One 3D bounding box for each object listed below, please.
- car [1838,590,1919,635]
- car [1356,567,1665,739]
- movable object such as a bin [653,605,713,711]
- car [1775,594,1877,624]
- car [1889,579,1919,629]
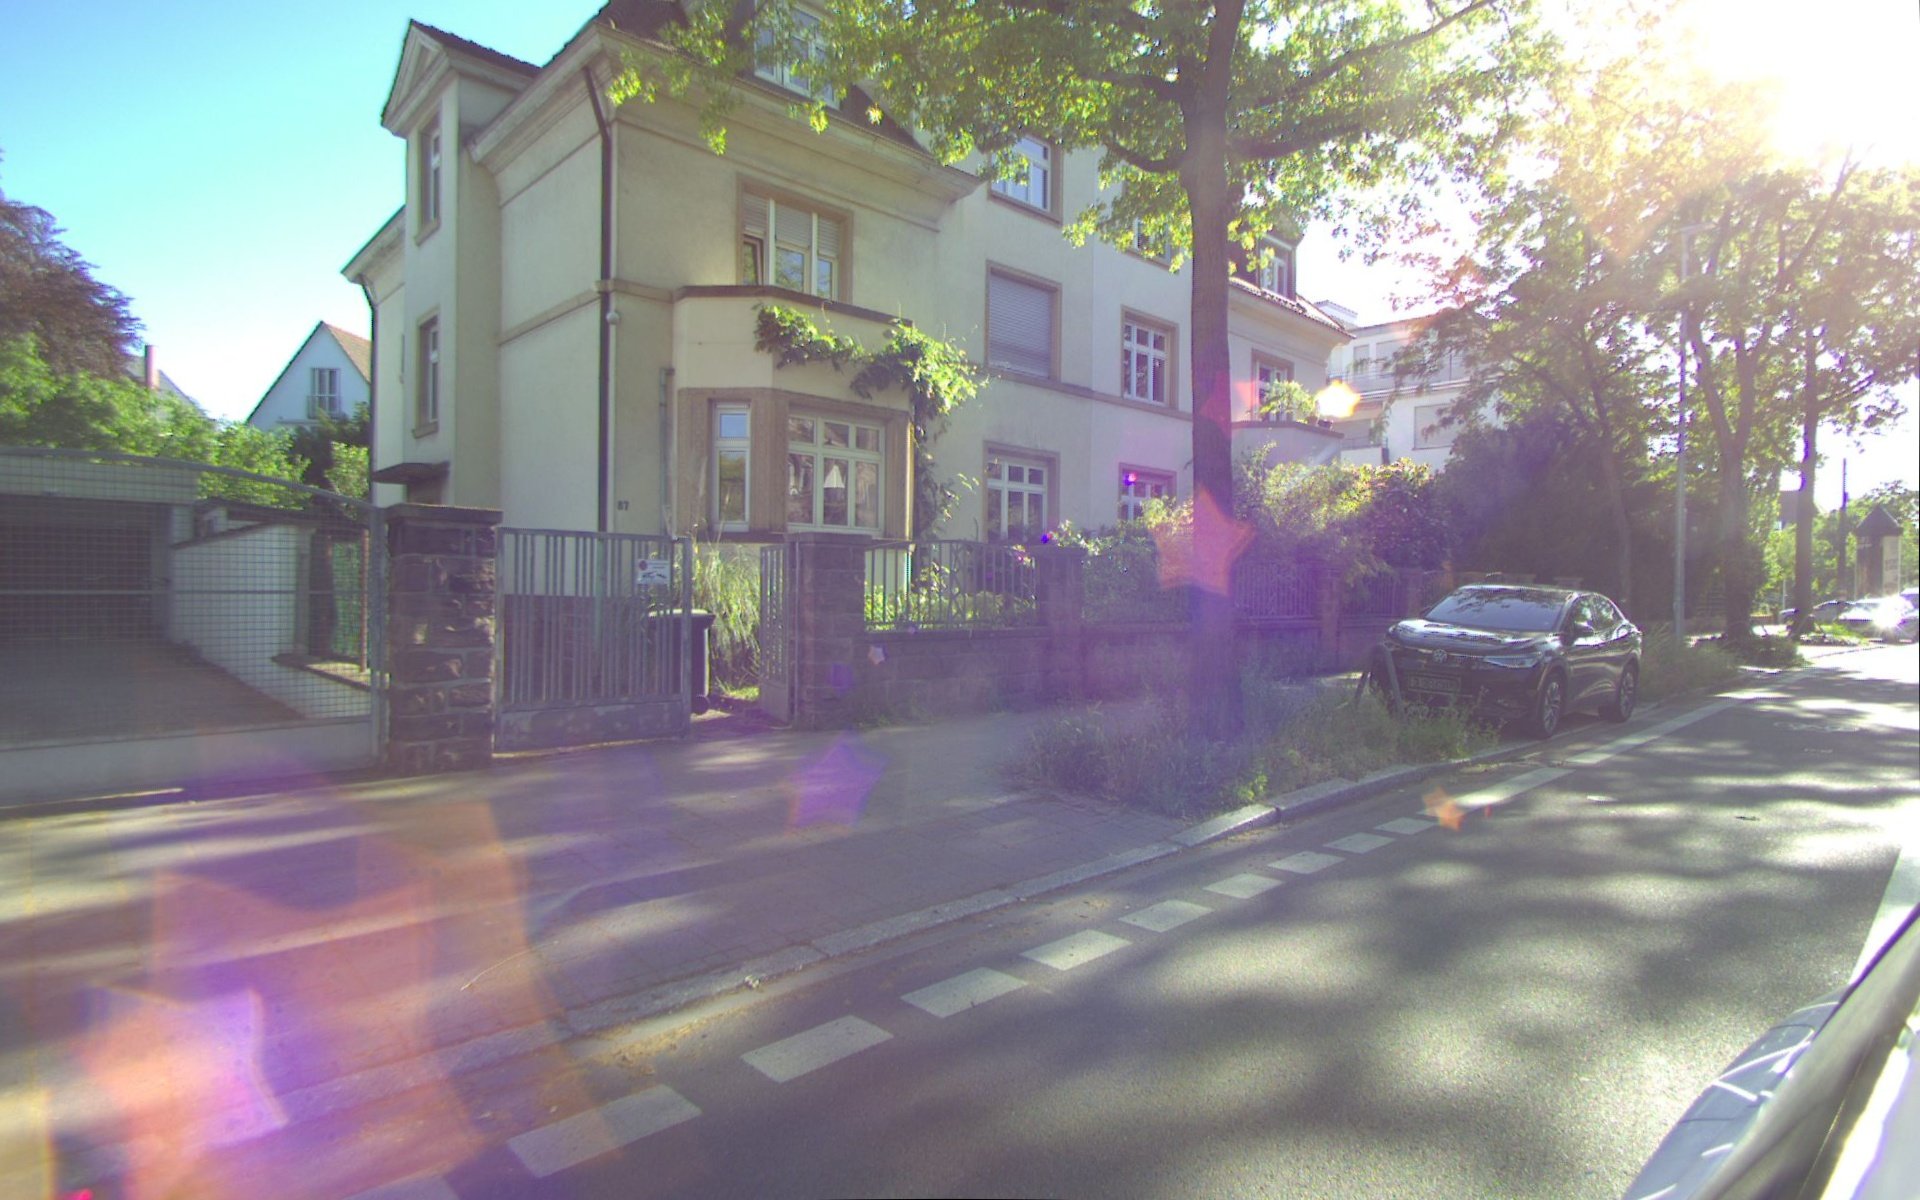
[{"bbox_3d":[31.504,0.384,34.275,4.181,1.427,1.901,0,1,-38],"label":"car"},{"bbox_3d":[6.703,0.499,12.137,4.186,1.619,1.917,0,4,-42],"label":"car"},{"bbox_3d":[-2.929,0.588,10.671,0.551,1.062,0.676,0,0,-20],"label":"movable object such as a bin"},{"bbox_3d":[46.058,0.460,53.842,1.784,1.459,3.990,0,1,-44],"label":"car"},{"bbox_3d":[36.664,0.131,37.858,4.580,1.808,1.903,0,1,-35],"label":"car"}]
